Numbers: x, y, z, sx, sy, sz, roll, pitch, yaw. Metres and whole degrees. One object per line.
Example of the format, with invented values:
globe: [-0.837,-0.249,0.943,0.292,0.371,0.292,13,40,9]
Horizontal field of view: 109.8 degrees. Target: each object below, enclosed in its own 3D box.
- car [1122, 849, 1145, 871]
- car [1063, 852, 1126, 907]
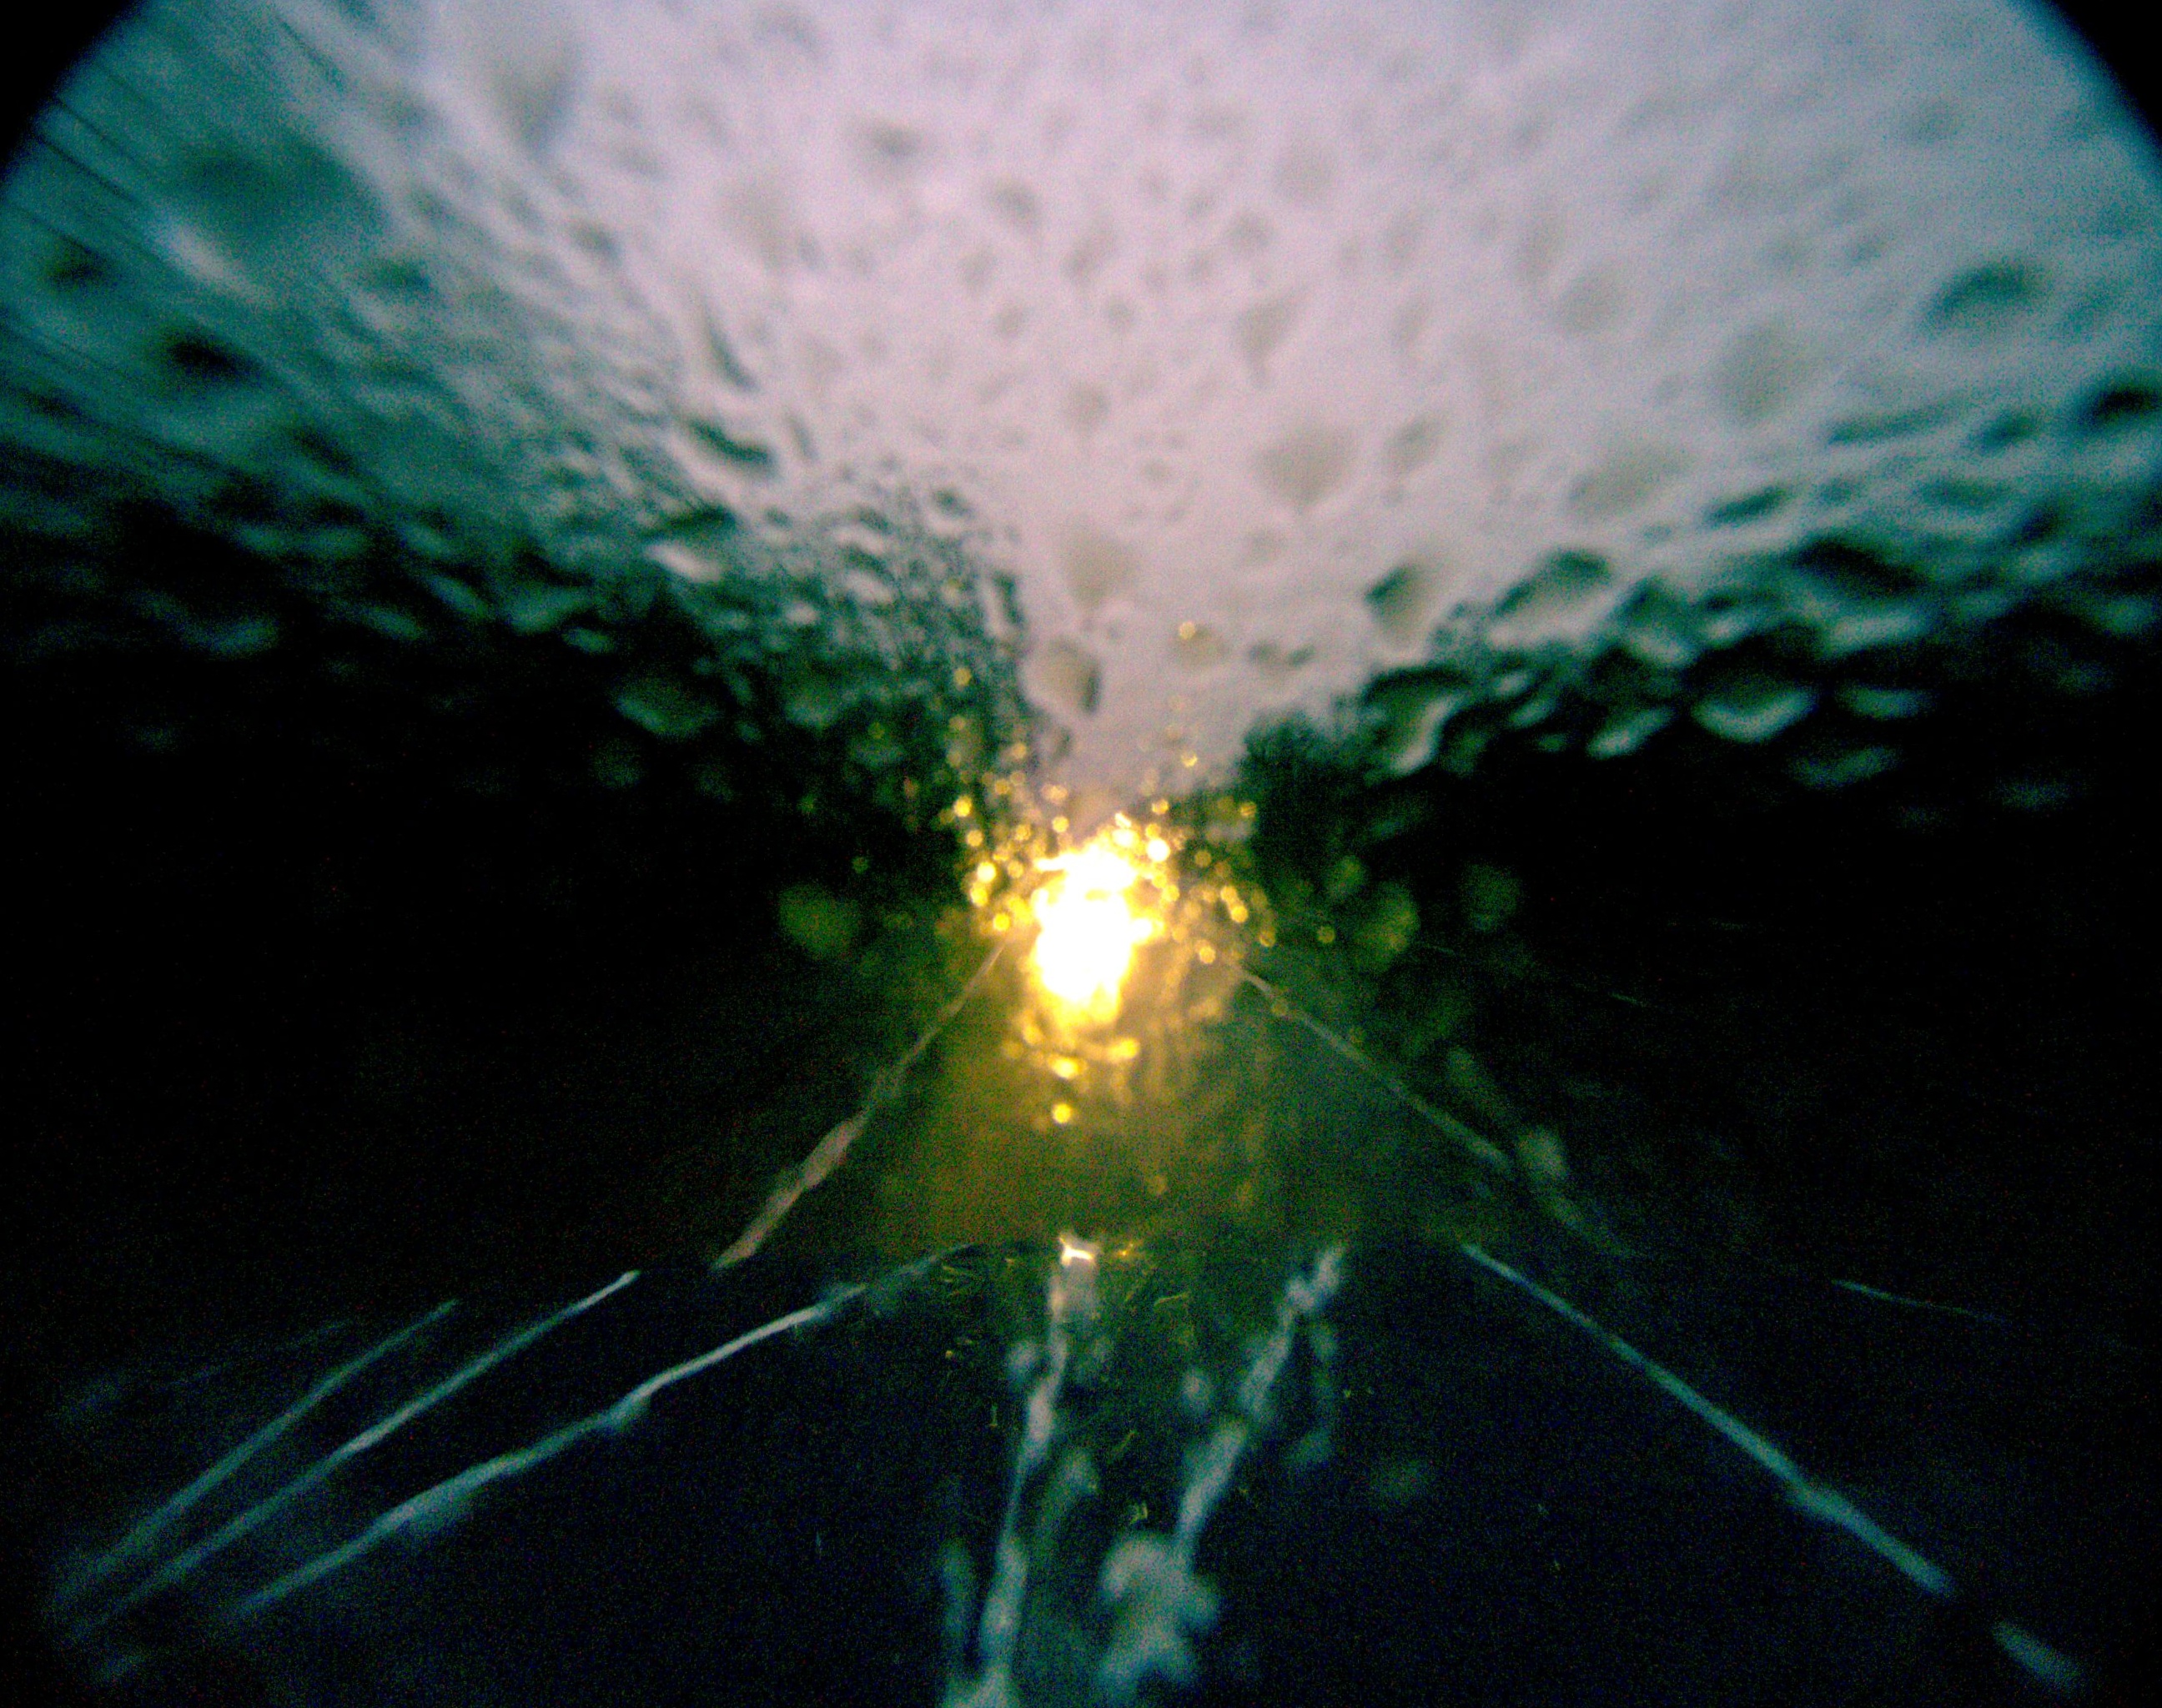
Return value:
car: [4.274,0.468,62.442,1.678,1.727,3.837,-2,1,2]
car: [0.460,0.821,26.613,1.998,1.672,3.999,-2,1,1]
